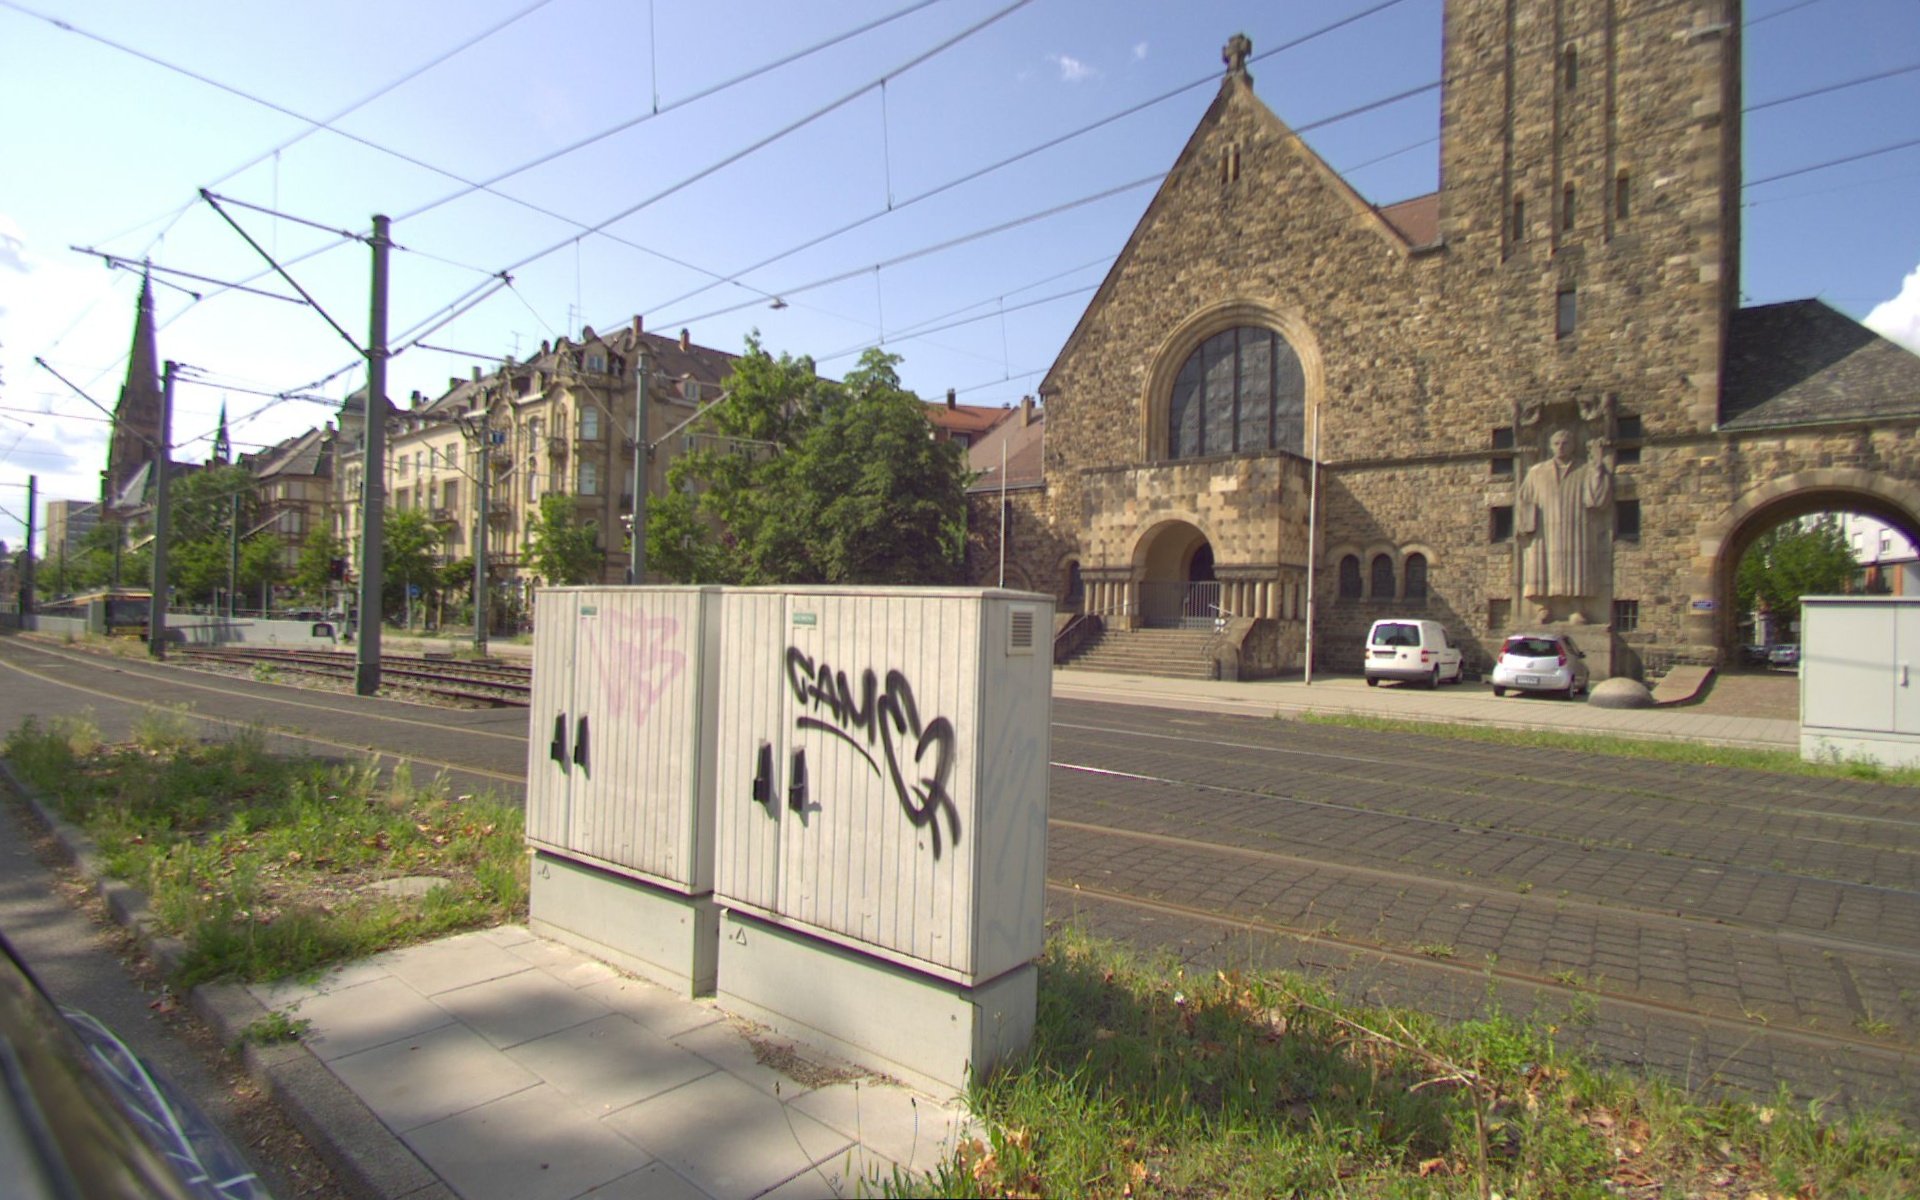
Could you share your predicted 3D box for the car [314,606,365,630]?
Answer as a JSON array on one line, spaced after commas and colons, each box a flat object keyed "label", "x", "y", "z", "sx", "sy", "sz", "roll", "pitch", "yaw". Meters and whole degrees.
[{"label": "car", "x": -42.076, "y": 1.207, "z": 68.576, "sx": 4.708, "sy": 1.514, "sz": 1.667, "roll": 0, "pitch": -2, "yaw": 43}]

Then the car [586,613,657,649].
[{"label": "car", "x": -14.943, "y": 1.348, "z": 44.552, "sx": 1.647, "sy": 1.427, "sz": 3.851, "roll": 5, "pitch": -3, "yaw": -39}]

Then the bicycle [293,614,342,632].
[{"label": "bicycle", "x": -46.538, "y": 1.690, "z": 73.336, "sx": 0.790, "sy": 1.256, "sz": 2.926, "roll": 0, "pitch": -2, "yaw": 29}]

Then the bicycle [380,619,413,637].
[{"label": "bicycle", "x": -34.998, "y": 1.726, "z": 62.864, "sx": 0.470, "sy": 1.077, "sz": 1.690, "roll": 0, "pitch": -2, "yaw": 36}]

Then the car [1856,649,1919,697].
[{"label": "car", "x": 35.135, "y": 2.661, "z": 36.321, "sx": 1.998, "sy": 1.665, "sz": 3.984, "roll": 2, "pitch": -1, "yaw": -16}]

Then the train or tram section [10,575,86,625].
[{"label": "train or tram section", "x": -70.977, "y": -0.006, "z": 78.648, "sx": 12.830, "sy": 3.607, "sz": 2.823, "roll": 0, "pitch": -2, "yaw": 41}]

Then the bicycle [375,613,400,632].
[{"label": "bicycle", "x": -40.714, "y": 1.599, "z": 71.980, "sx": 2.942, "sy": 1.258, "sz": 0.650, "roll": 0, "pitch": 1, "yaw": 42}]

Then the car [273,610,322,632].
[{"label": "car", "x": -49.401, "y": 1.523, "z": 75.414, "sx": 4.484, "sy": 1.538, "sz": 1.781, "roll": 0, "pitch": 0, "yaw": 39}]

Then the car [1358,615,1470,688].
[{"label": "car", "x": 12.635, "y": 1.401, "z": 28.039, "sx": 1.862, "sy": 1.837, "sz": 3.962, "roll": 1, "pitch": -1, "yaw": 39}]

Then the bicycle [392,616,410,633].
[{"label": "bicycle", "x": -38.671, "y": 1.675, "z": 69.980, "sx": 2.023, "sy": 1.148, "sz": 0.423, "roll": 0, "pitch": 1, "yaw": 42}]

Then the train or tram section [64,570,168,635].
[{"label": "train or tram section", "x": -51.609, "y": 0.166, "z": 61.671, "sx": 12.830, "sy": 3.607, "sz": 2.823, "roll": 0, "pitch": -2, "yaw": 41}]

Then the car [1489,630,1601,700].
[{"label": "car", "x": 14.722, "y": 1.586, "z": 25.370, "sx": 1.797, "sy": 1.558, "sz": 3.728, "roll": 1, "pitch": -1, "yaw": 40}]

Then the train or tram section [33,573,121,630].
[{"label": "train or tram section", "x": -61.316, "y": 0.093, "z": 70.153, "sx": 12.830, "sy": 3.607, "sz": 2.823, "roll": 0, "pitch": -2, "yaw": 41}]
